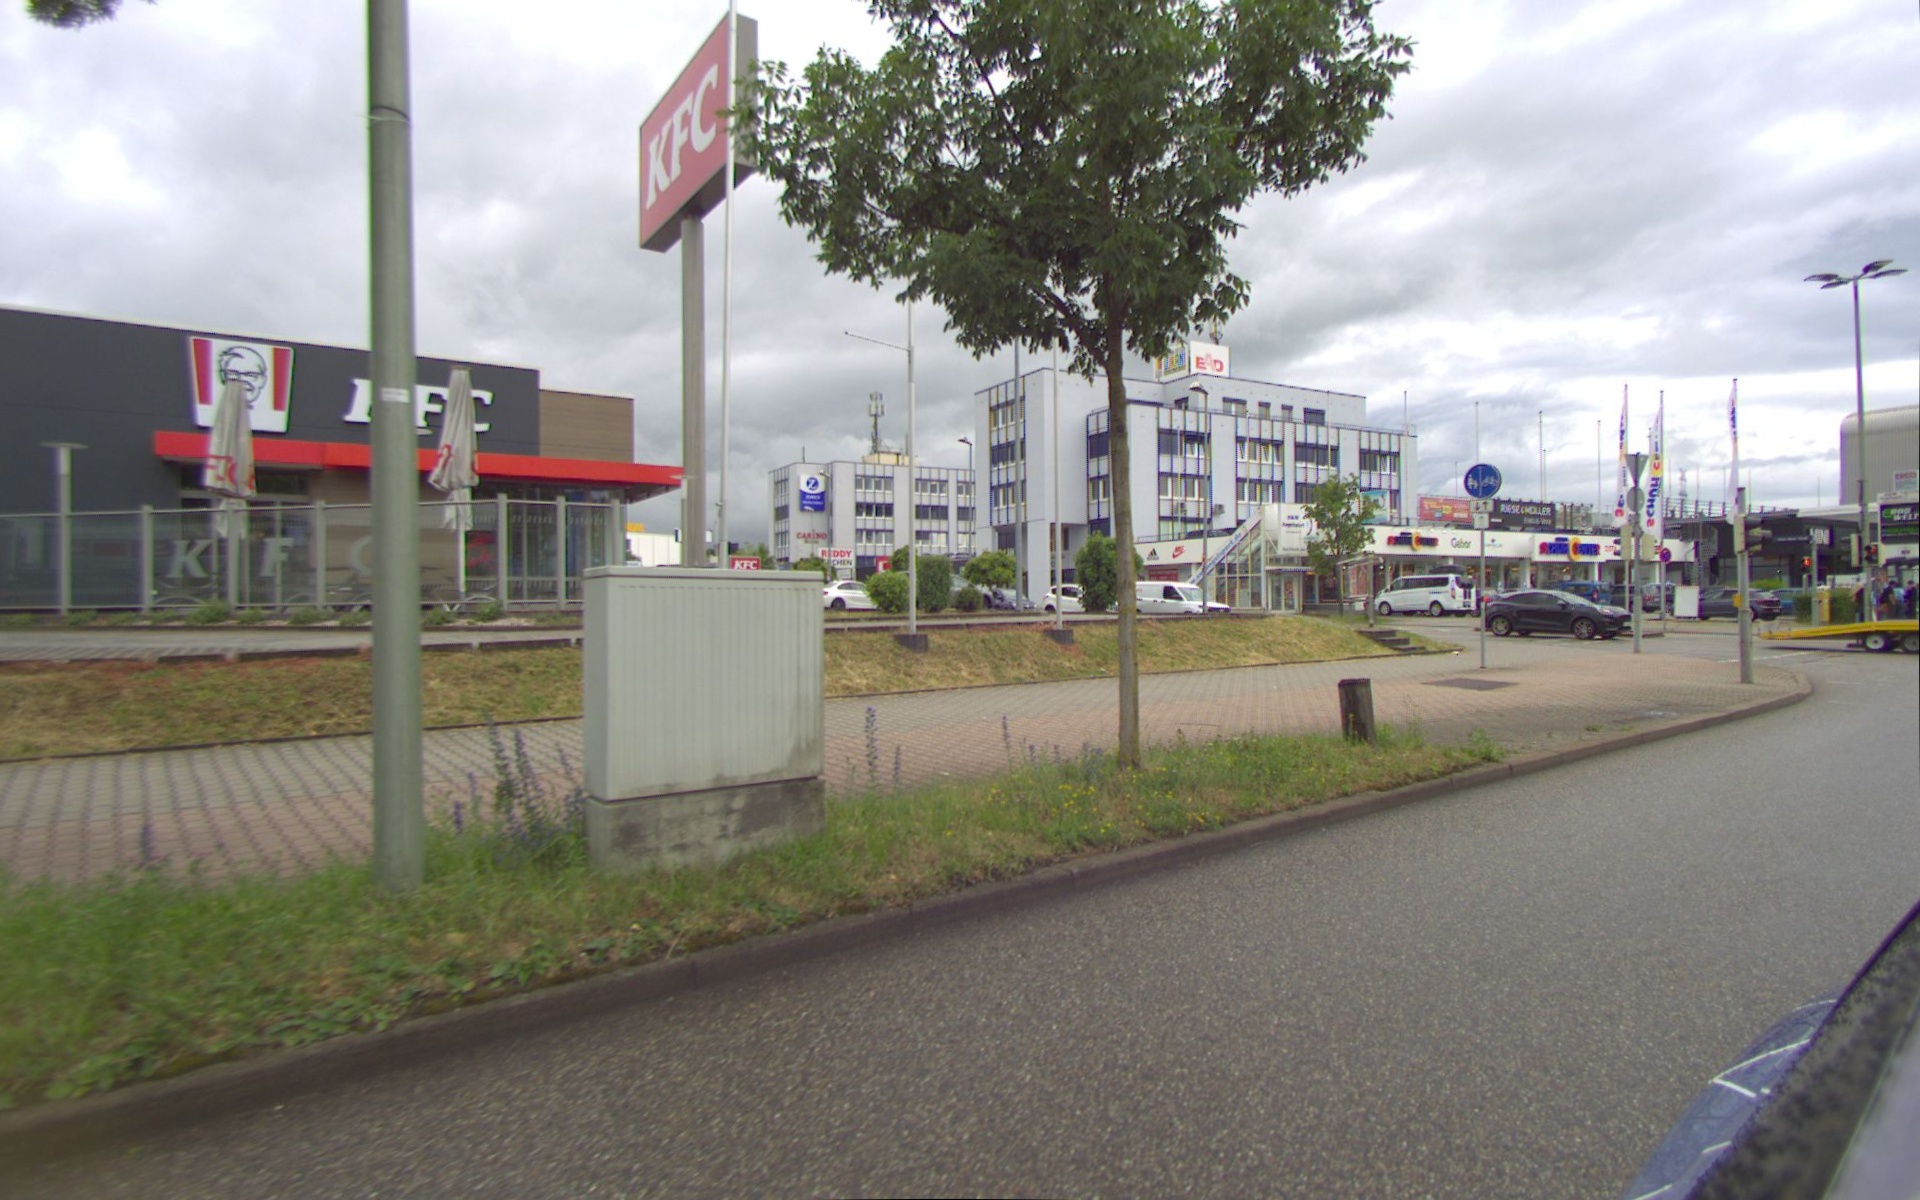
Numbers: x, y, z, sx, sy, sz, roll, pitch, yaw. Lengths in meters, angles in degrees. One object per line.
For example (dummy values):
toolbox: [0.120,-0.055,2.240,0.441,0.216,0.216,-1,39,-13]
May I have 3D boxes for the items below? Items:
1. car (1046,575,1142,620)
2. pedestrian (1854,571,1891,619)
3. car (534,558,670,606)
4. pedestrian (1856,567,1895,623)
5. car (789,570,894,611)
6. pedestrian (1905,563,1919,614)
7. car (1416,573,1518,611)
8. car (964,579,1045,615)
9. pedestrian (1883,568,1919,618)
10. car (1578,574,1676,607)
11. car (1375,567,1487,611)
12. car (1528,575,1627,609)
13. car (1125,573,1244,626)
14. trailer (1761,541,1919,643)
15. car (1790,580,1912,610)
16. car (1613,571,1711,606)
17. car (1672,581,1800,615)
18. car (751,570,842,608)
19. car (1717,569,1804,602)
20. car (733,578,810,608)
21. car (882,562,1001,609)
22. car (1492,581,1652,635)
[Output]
car: [5.463,-0.126,41.606,1.788,1.730,4.003,0,1,-32]
pedestrian: [35.100,-0.200,38.928,0.805,1.796,0.693,1,2,18]
car: [-13.840,-0.701,39.278,4.656,1.762,1.892,0,1,-38]
pedestrian: [33.855,-0.210,37.431,0.805,2.038,0.693,1,1,18]
car: [-5.355,-0.431,46.097,4.419,1.762,1.892,0,1,-38]
pedestrian: [38.351,-0.460,40.379,0.683,2.039,0.742,0,0,-30]
car: [25.686,-0.407,51.409,1.859,1.843,4.380,0,1,-29]
car: [2.011,-0.160,46.991,1.788,1.618,4.003,0,1,-32]
pedestrian: [36.412,-0.269,39.177,0.683,1.879,0.817,-2,3,-28]
car: [38.577,-0.564,58.647,1.859,1.786,4.380,0,1,-29]
car: [23.017,-0.565,49.655,1.959,2.039,4.794,0,1,-28]
car: [34.315,-0.475,56.389,1.859,1.786,4.380,0,1,-29]
car: [8.206,-0.050,37.344,1.763,1.806,4.252,2,0,-32]
trailer: [24.795,-0.201,24.691,2.270,2.505,7.959,0,-1,-40]
car: [43.533,-0.283,49.538,1.861,1.411,4.132,0,1,-29]
car: [41.186,-0.691,59.467,1.859,1.930,4.380,0,1,-29]
car: [33.970,-0.121,44.425,1.786,1.411,4.134,0,1,-25]
car: [-8.113,-0.562,50.395,4.106,1.797,1.882,0,1,-36]
car: [51.472,-0.929,65.152,1.872,2.039,4.007,0,1,-26]
car: [-10.103,-0.394,54.316,3.675,1.533,1.735,-1,1,-37]
car: [-0.694,-0.562,40.160,4.417,1.762,1.893,0,1,-35]
car: [19.410,0.215,32.236,1.781,1.559,3.998,-2,2,-36]
